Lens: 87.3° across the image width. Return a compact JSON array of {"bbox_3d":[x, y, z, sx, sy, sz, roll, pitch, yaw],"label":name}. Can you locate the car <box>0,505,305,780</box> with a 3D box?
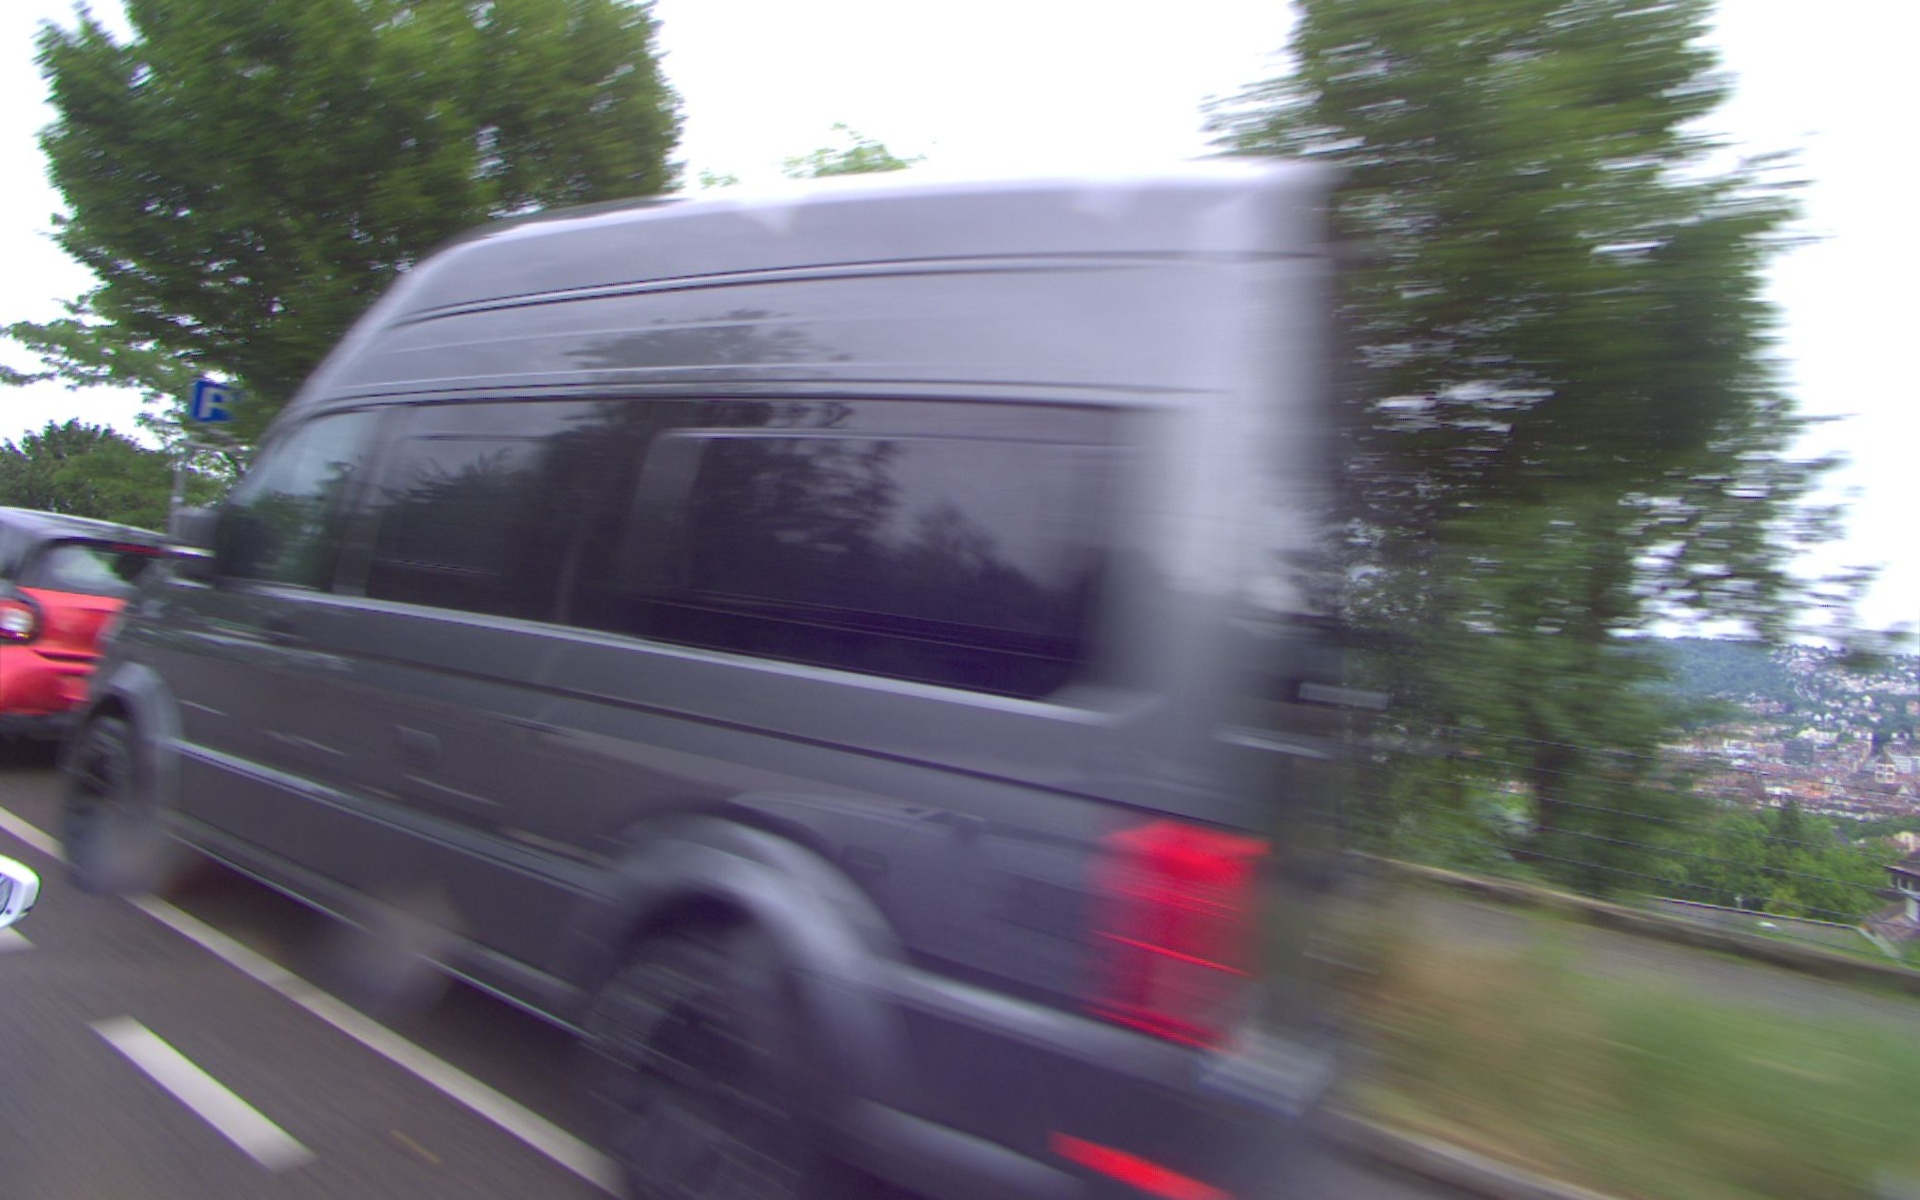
[{"bbox_3d":[-6.692,0.147,7.260,3.769,1.557,1.686,6,-2,31],"label":"car"}]

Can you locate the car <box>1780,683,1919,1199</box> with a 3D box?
[{"bbox_3d":[3.824,1.258,1.042,4.331,1.767,1.725,6,-4,33],"label":"car"}]

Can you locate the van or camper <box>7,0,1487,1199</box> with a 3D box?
[{"bbox_3d":[-1.258,0.067,4.076,5.633,2.942,2.129,6,-3,32],"label":"van or camper"}]
